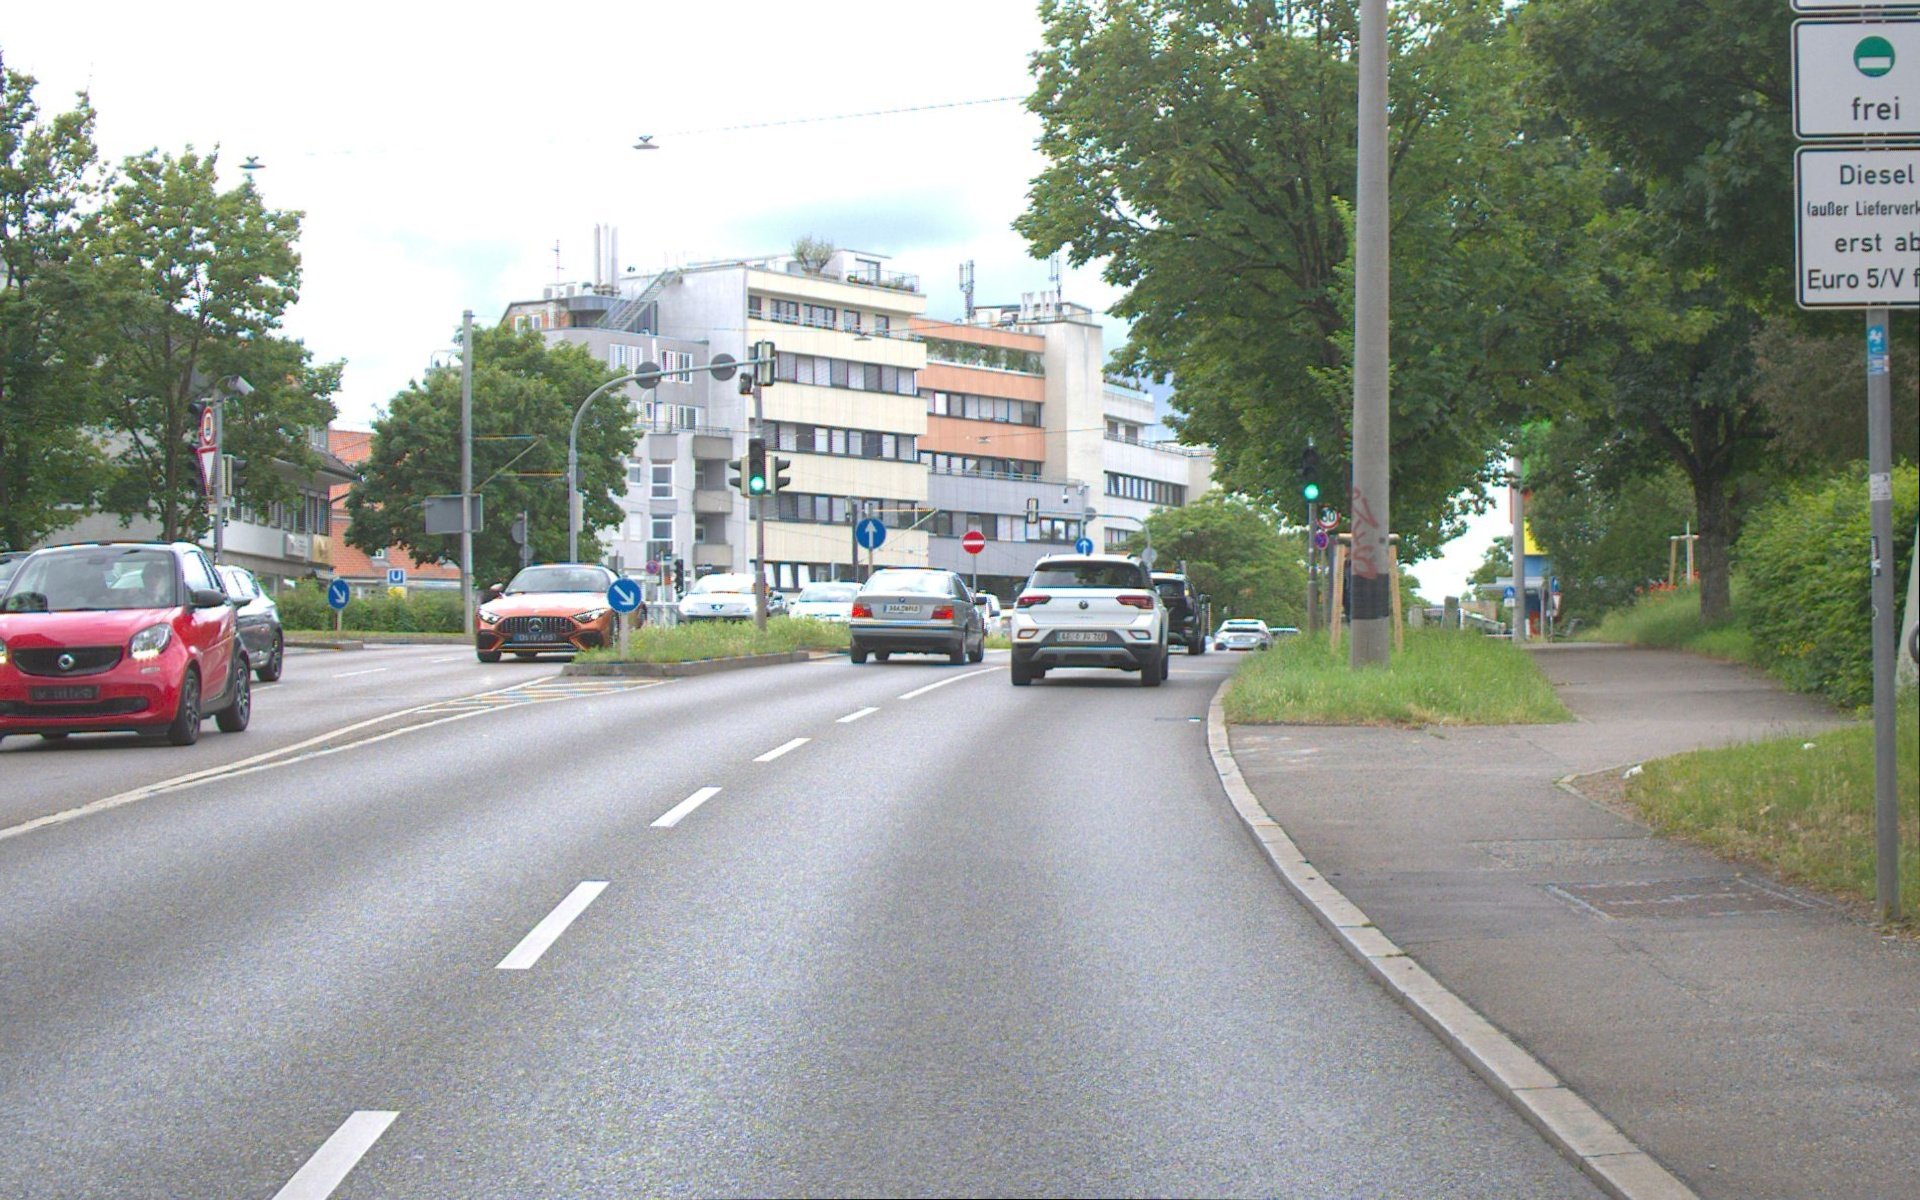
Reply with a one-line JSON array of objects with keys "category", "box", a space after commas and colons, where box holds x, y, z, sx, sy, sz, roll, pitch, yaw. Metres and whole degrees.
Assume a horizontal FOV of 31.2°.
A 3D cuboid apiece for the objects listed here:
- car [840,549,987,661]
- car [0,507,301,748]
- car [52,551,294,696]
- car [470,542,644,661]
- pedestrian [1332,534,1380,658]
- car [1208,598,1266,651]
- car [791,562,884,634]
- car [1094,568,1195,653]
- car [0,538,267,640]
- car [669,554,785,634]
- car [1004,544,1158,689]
[{"category": "car", "box": [-0.634, 0.041, 49.949, 1.700, 1.510, 3.735, 0, 2, 6]}, {"category": "car", "box": [-6.596, 0.169, 27.176, 1.869, 1.696, 4.430, -2, 1, 0]}, {"category": "car", "box": [-8.955, 0.222, 39.452, 1.747, 1.489, 4.207, -2, 1, 0]}, {"category": "car", "box": [-5.740, -0.010, 49.453, 1.770, 1.565, 4.285, 2, 1, 3]}, {"category": "pedestrian", "box": [5.937, -0.059, 51.598, 0.642, 1.849, 0.673, 0, 1, 1]}, {"category": "car", "box": [8.718, 0.753, 108.436, 1.770, 1.565, 4.284, 0, 1, 4]}, {"category": "car", "box": [-2.726, -0.060, 77.182, 1.777, 1.560, 4.000, 0, 1, 2]}, {"category": "car", "box": [3.397, 0.194, 63.727, 1.700, 1.511, 3.493, 0, 0, 0]}, {"category": "car", "box": [-12.959, -0.178, 53.458, 1.780, 1.539, 3.990, 1, 1, 44]}, {"category": "car", "box": [-4.384, -0.137, 65.245, 1.777, 1.476, 3.980, 0, 1, 2]}, {"category": "car", "box": [1.439, 0.158, 41.666, 1.700, 1.543, 3.736, 3, 2, 1]}]
